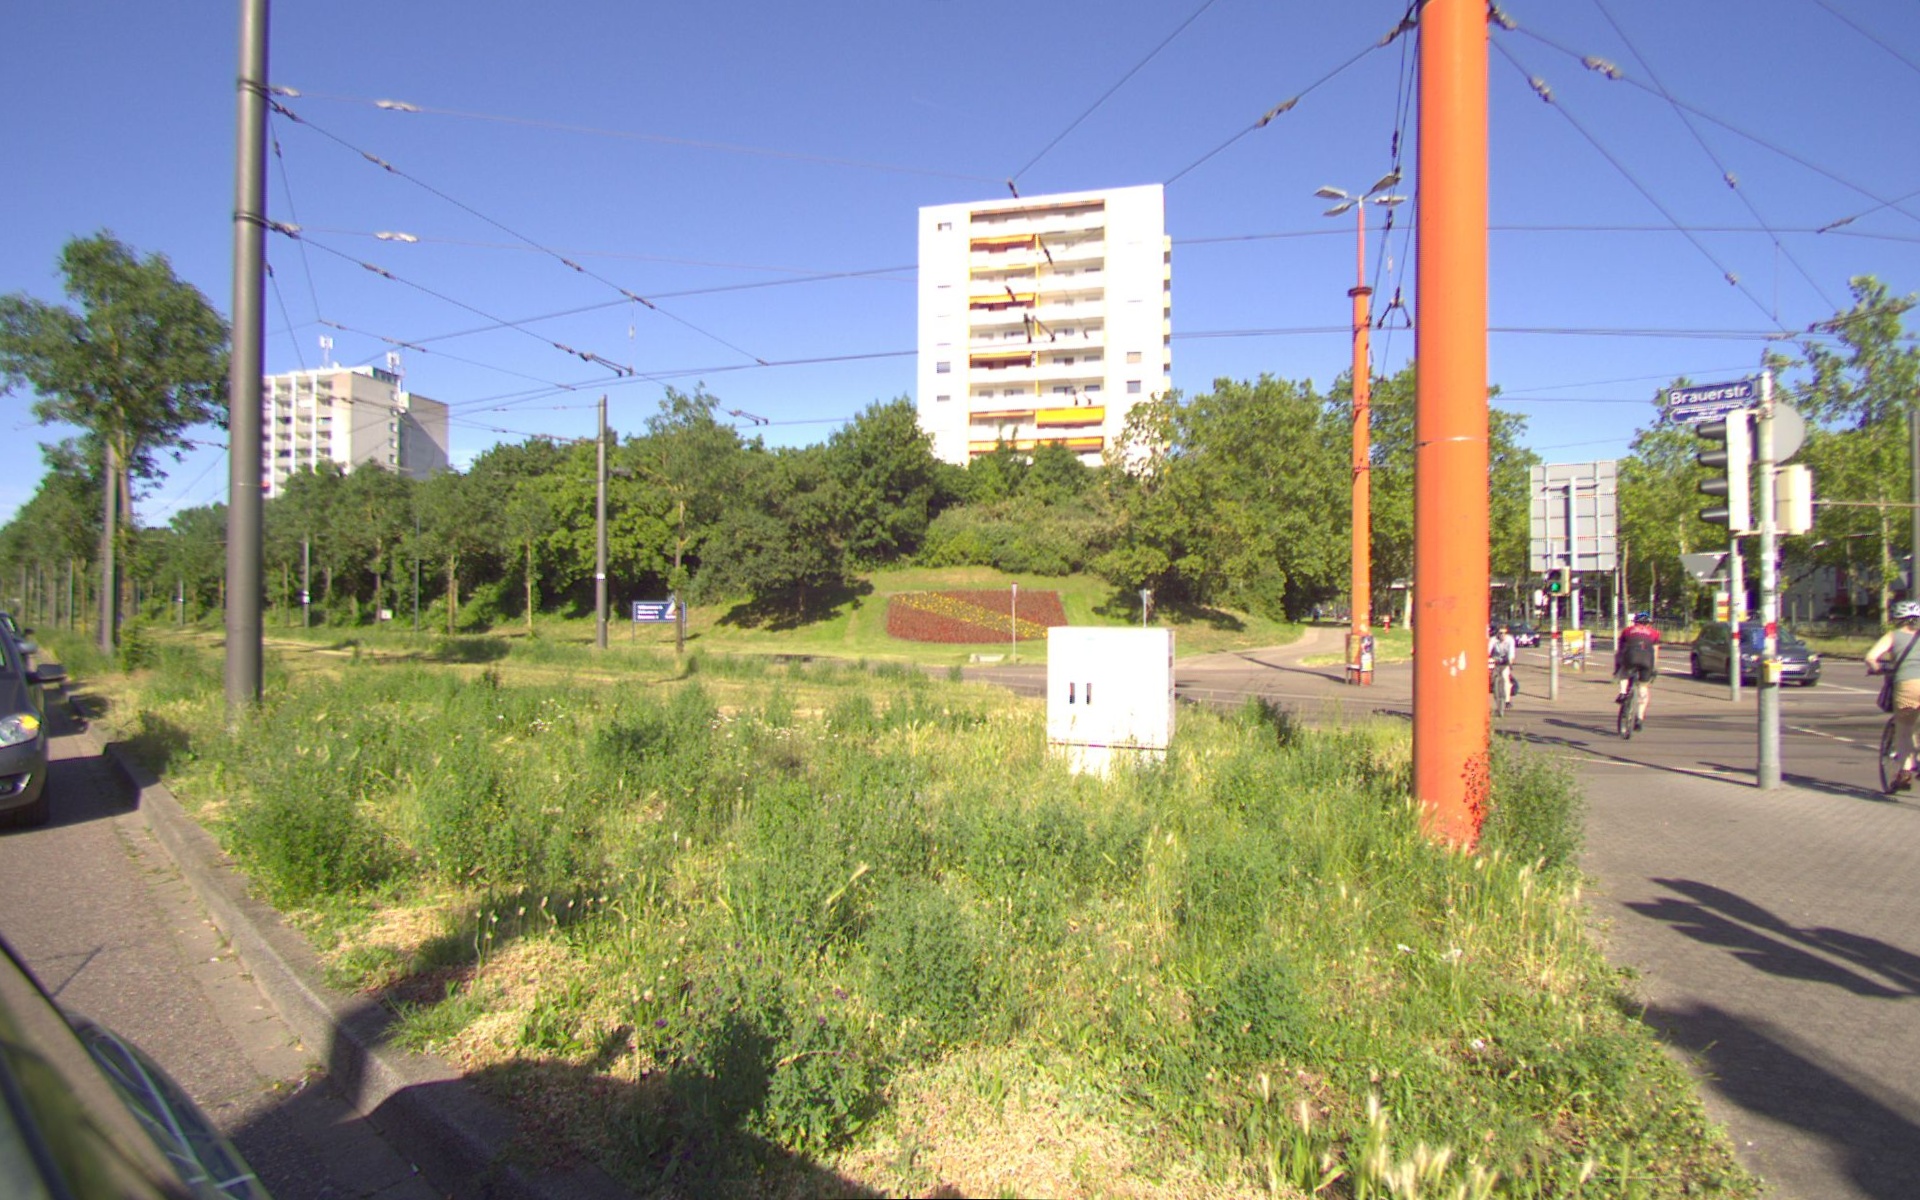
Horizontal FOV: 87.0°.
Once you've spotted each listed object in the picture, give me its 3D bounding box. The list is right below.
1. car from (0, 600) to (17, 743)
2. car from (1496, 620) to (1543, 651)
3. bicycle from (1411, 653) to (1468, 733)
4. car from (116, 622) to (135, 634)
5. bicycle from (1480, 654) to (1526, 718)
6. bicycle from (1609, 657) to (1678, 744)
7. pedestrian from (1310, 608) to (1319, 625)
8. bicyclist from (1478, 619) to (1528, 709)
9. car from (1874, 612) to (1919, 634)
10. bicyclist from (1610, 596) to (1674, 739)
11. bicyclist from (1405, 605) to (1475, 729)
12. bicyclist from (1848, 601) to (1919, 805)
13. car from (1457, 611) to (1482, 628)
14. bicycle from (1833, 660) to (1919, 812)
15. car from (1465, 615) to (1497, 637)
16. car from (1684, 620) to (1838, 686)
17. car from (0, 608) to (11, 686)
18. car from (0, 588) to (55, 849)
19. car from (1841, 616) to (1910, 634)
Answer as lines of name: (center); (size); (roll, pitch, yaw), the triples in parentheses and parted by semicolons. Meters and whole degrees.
car: (-13.224, 0.866, 12.819); (4.002, 1.674, 1.725); (-1, 0, 45)
car: (30.630, 1.915, 55.491); (1.907, 1.507, 3.968); (-1, 0, 24)
bicycle: (7.561, 1.427, 16.016); (0.575, 1.079, 1.904); (-1, 0, 19)
car: (-106.551, 3.611, 129.156); (1.556, 1.431, 3.911); (0, -1, -45)
bicycle: (9.730, 1.517, 18.173); (0.576, 1.080, 1.900); (-1, -3, 24)
bicycle: (9.682, 1.378, 14.312); (0.691, 1.080, 1.891); (-1, -2, 37)
pedestrian: (32.177, 1.500, 91.891); (0.682, 1.568, 0.983); (-1, -1, 23)
bicyclist: (9.768, 1.131, 18.228); (0.716, 1.536, 0.916); (-1, 0, 25)
car: (64.745, 1.551, 68.737); (1.588, 1.471, 3.658); (-1, 0, -34)
bicyclist: (9.675, 0.919, 14.344); (0.686, 1.927, 0.979); (-1, 0, 37)
bicyclist: (7.592, 1.032, 16.060); (0.886, 1.881, 0.918); (-1, 0, 20)
bicyclist: (8.126, 0.836, 8.399); (0.887, 1.634, 0.821); (-1, -2, 24)
car: (47.446, 1.802, 94.281); (1.835, 1.507, 3.968); (-1, 0, 24)
bicycle: (8.155, 1.110, 8.453); (0.736, 1.139, 1.901); (-1, -1, 23)
car: (39.377, 1.968, 76.540); (1.907, 1.507, 3.968); (-1, 0, 24)
car: (21.169, 1.355, 26.963); (1.903, 1.507, 4.021); (-1, 0, 18)
car: (-22.552, 1.032, 22.685); (4.002, 1.674, 1.724); (-1, -2, 45)
car: (-7.922, 0.785, 7.397); (4.002, 1.652, 1.725); (-1, -1, 45)
car: (65.594, 1.784, 72.537); (1.424, 1.197, 3.426); (-1, 0, -38)
